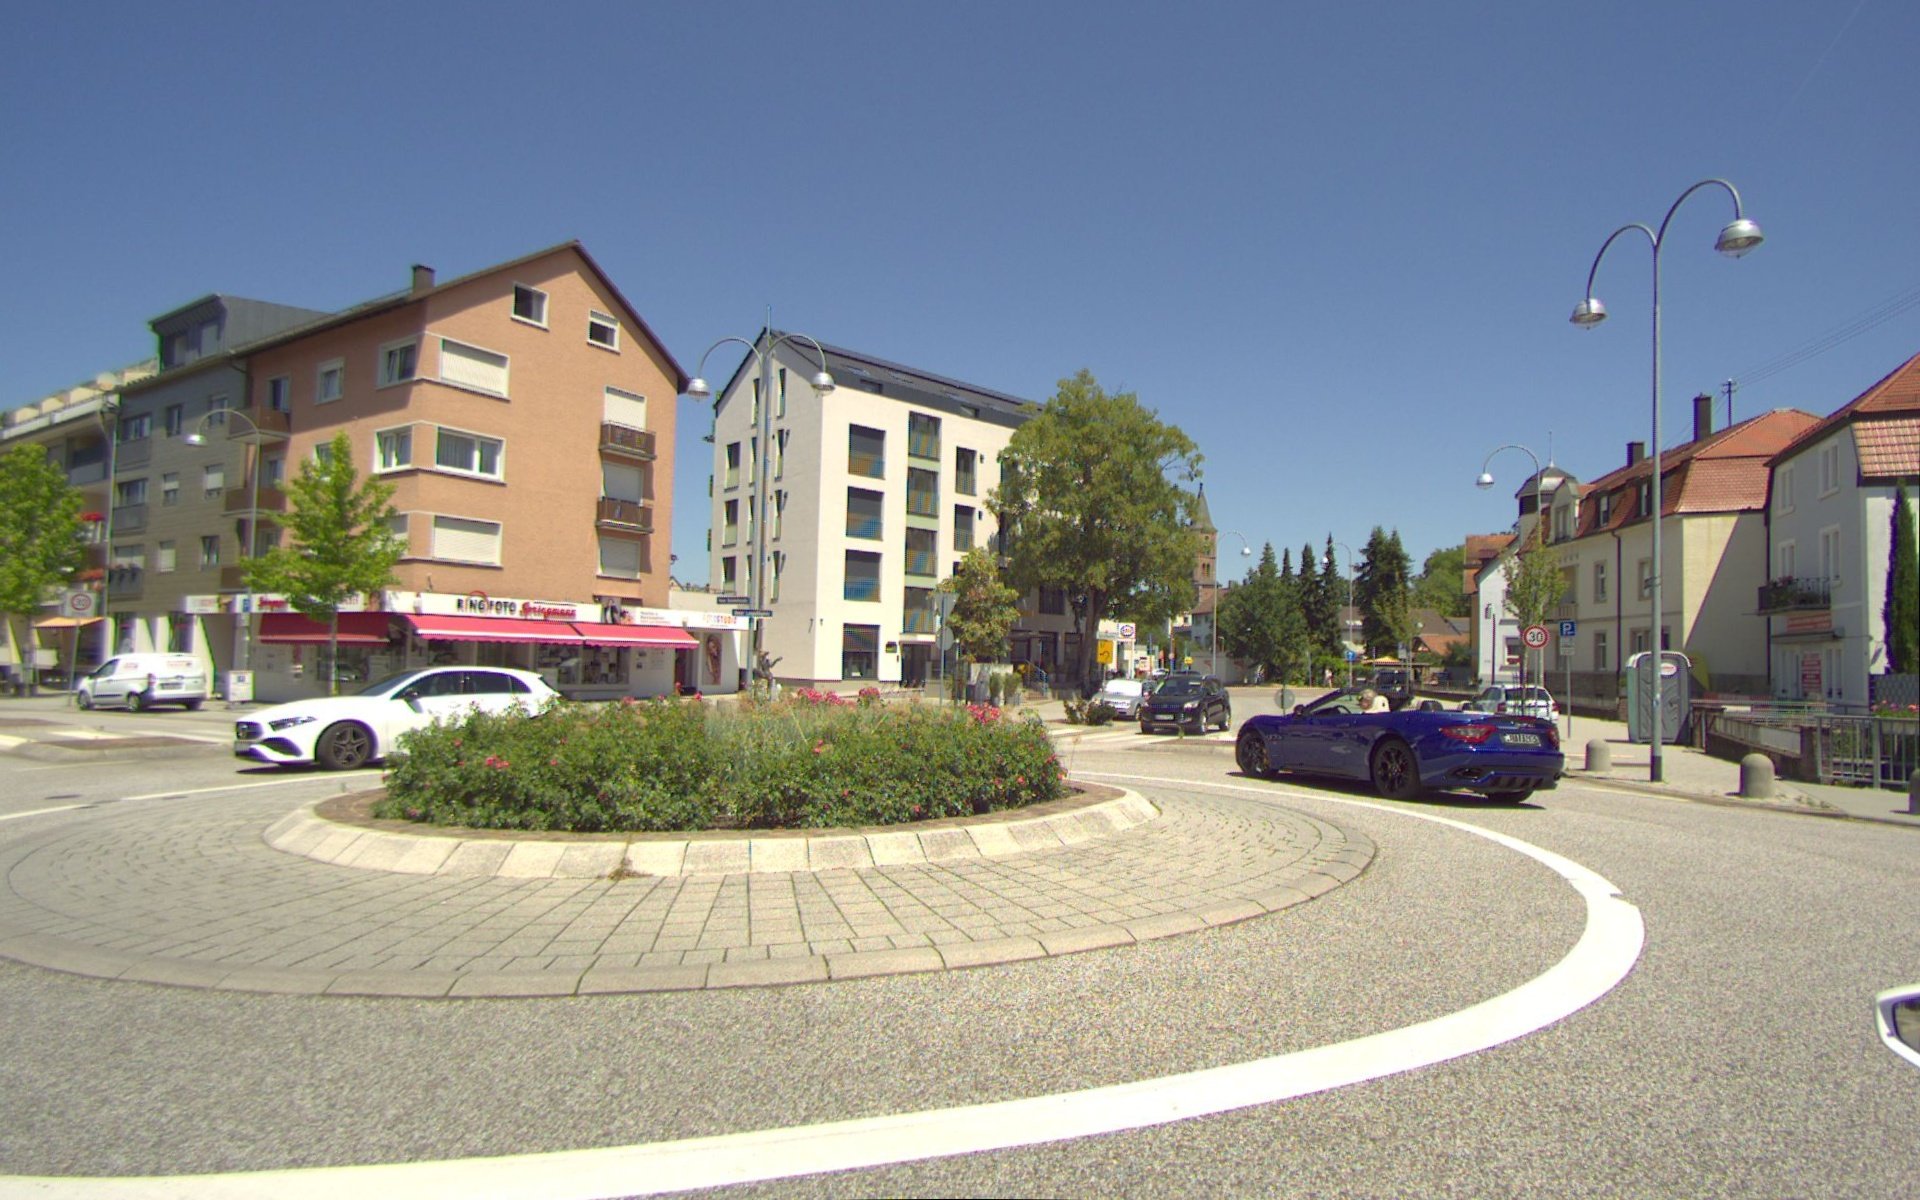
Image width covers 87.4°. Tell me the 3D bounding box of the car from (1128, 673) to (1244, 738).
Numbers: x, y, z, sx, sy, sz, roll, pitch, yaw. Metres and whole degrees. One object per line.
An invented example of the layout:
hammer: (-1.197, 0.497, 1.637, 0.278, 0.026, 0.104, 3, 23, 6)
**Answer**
car: (6.669, 3.012, 29.278, 1.965, 1.710, 4.518, -2, -5, 32)

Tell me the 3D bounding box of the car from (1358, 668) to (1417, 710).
car: (22.516, 4.662, 53.064, 1.959, 1.889, 4.290, 2, -1, 10)

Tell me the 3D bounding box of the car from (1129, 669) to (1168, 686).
car: (21.180, 8.677, 112.889, 3.943, 1.672, 1.989, 3, -1, -23)

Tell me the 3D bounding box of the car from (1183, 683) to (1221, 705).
car: (20.245, 7.851, 84.275, 1.961, 1.710, 4.528, 1, -3, -1)

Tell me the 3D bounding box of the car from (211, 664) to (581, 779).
car: (-7.976, 1.662, 14.579, 1.902, 1.399, 4.273, -4, -6, 37)

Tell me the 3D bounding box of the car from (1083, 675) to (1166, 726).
car: (6.034, 3.596, 36.527, 1.768, 1.610, 3.996, 2, -3, 28)

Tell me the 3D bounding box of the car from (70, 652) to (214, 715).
car: (-24.500, 2.444, 30.098, 3.835, 1.747, 1.752, -1, -2, 23)

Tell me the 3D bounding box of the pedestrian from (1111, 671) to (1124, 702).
pedestrian: (7.912, 4.345, 50.491, 0.522, 1.504, 0.556, 0, -4, 21)

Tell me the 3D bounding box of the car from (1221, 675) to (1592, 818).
car: (5.470, 1.733, 13.131, 1.950, 1.416, 4.613, 1, -3, -15)

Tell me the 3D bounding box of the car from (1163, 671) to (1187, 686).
car: (21.133, 7.747, 98.783, 1.514, 1.396, 4.002, 1, -4, 1)

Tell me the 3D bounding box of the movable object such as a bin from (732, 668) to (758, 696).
movable object such as a bin: (-9.164, 3.488, 42.827, 0.754, 1.170, 0.765, 3, -1, -39)

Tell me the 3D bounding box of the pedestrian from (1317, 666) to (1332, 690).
pedestrian: (28.472, 6.104, 78.461, 0.830, 1.838, 0.548, 2, -1, -10)

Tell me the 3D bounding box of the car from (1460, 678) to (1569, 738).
car: (16.713, 3.230, 30.499, 1.961, 1.604, 4.290, -4, -5, 17)
